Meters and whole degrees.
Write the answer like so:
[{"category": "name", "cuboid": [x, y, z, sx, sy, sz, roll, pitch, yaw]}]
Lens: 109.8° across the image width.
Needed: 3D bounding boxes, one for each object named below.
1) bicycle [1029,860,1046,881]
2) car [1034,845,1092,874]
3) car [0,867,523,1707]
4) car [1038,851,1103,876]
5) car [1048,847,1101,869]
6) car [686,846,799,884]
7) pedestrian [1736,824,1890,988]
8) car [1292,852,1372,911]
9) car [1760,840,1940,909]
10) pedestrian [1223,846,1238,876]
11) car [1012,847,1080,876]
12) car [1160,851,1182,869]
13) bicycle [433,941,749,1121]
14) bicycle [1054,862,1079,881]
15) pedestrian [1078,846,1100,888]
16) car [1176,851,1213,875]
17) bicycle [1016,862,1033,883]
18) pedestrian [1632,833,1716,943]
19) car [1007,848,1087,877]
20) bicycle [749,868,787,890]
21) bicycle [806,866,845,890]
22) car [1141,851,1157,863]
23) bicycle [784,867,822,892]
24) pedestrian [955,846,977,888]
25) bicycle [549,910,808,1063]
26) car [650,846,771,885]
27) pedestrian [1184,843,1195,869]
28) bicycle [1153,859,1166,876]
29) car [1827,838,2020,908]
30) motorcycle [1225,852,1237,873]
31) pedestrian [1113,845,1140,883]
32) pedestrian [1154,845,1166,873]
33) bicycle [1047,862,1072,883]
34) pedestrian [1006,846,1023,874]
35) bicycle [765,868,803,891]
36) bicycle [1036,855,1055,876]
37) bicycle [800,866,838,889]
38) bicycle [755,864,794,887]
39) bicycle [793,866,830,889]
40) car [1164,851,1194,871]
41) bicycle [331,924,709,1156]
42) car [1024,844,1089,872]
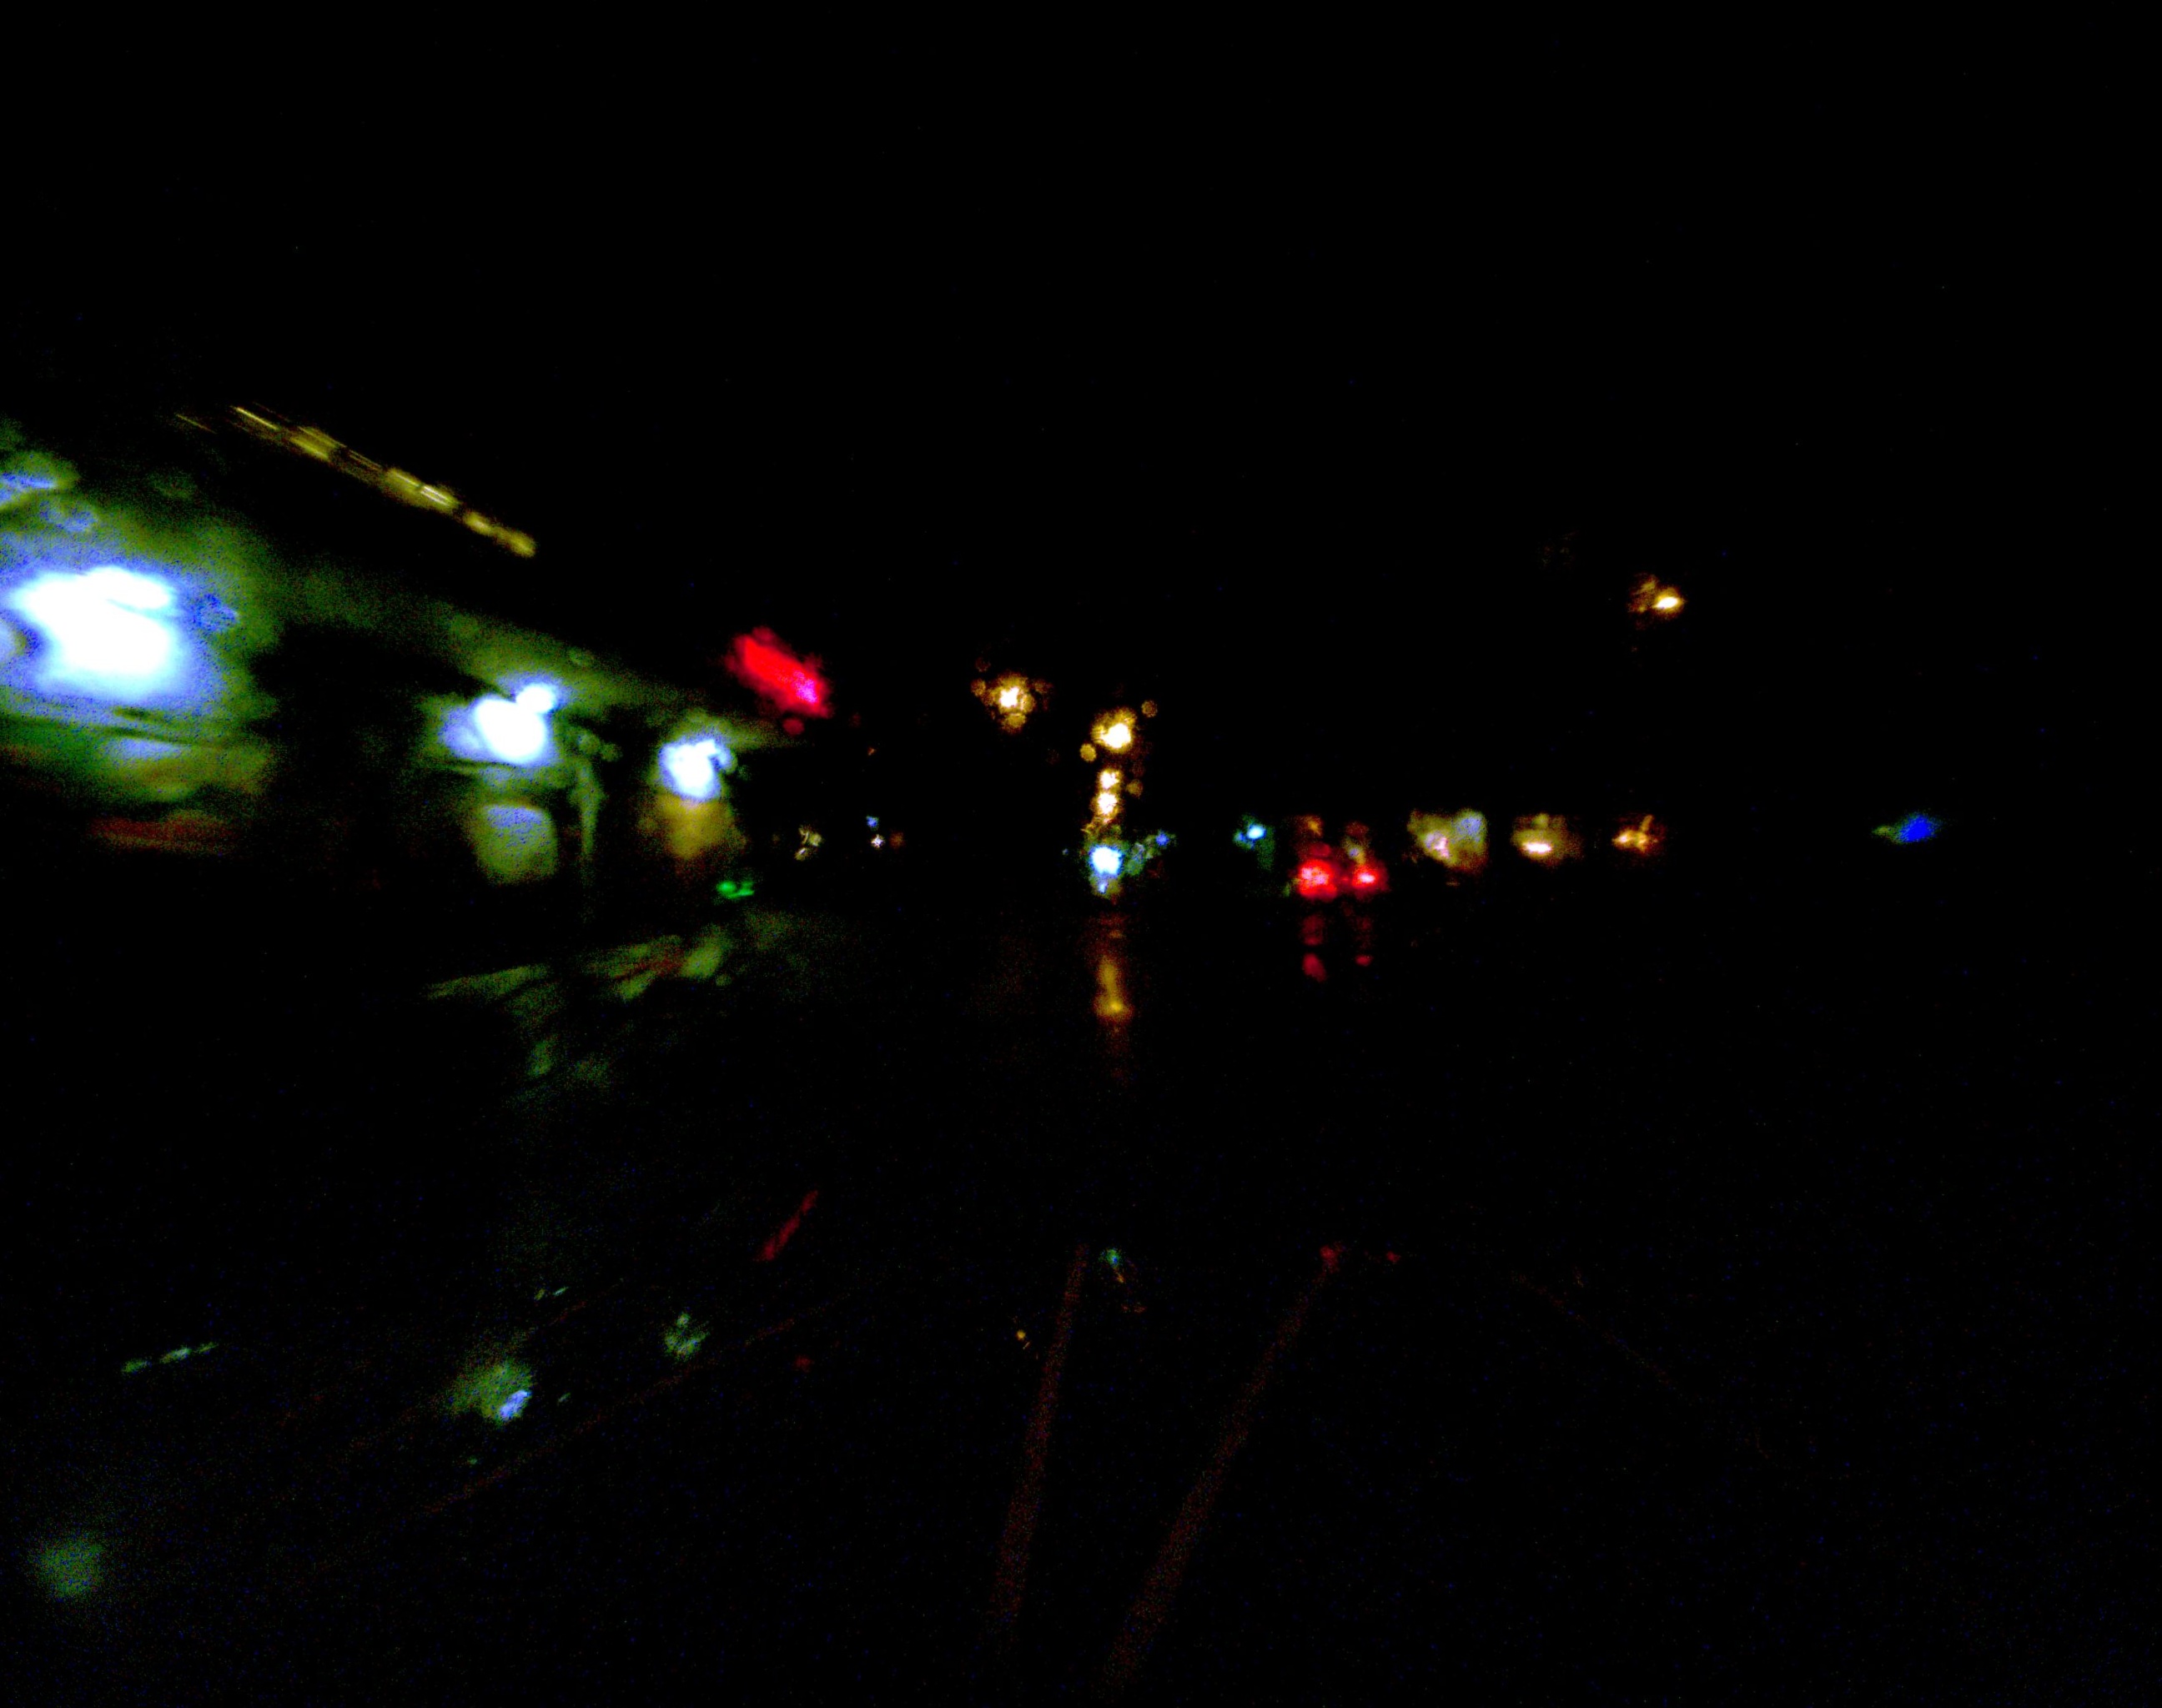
[{"category": "bicycle", "cuboid": [-2.337, 0.870, 41.099, 0.336, 1.086, 1.643, 1, 0, -24]}, {"category": "car", "cuboid": [-1.293, 0.418, 54.673, 3.747, 2.017, 1.717, 1, 0, -33]}, {"category": "car", "cuboid": [-2.734, 0.884, 0.381, 1.757, 1.557, 4.153, -2, 1, 0]}, {"category": "car", "cuboid": [-0.700, 0.674, 52.558, 4.080, 1.588, 1.829, 1, 0, -33]}, {"category": "car", "cuboid": [-0.616, 0.426, 72.505, 4.719, 1.968, 1.975, 1, 0, -27]}, {"category": "car", "cuboid": [-16.859, 0.516, 38.197, 1.995, 1.752, 5.105, -1, 0, 25]}, {"category": "pedestrian", "cuboid": [8.358, 0.564, 8.729, 0.805, 1.756, 1.016, -2, 1, 8]}, {"category": "car", "cuboid": [6.919, 0.689, 21.289, 1.565, 1.419, 4.072, 1, 1, 11]}, {"category": "car", "cuboid": [24.711, 0.594, 24.664, 1.998, 2.002, 4.001, -2, 1, 5]}, {"category": "pedestrian", "cuboid": [8.881, 0.388, 45.111, 0.827, 1.761, 0.600, -1, 1, 14]}, {"category": "car", "cuboid": [-2.122, 0.457, 46.739, 3.747, 1.702, 1.767, 1, 0, -33]}, {"category": "car", "cuboid": [7.857, 0.521, 66.749, 1.720, 1.470, 3.786, -2, 0, 4]}, {"category": "bicycle", "cuboid": [-3.149, 1.129, 4.955, 1.766, 1.073, 0.435, 0, 0, 0]}, {"category": "bicycle", "cuboid": [-0.816, 0.948, 41.771, 0.337, 1.020, 1.641, 1, 0, -45]}, {"category": "pedestrian", "cuboid": [0.359, 0.584, 34.453, 0.958, 1.852, 1.415, 0, 1, 1]}, {"category": "car", "cuboid": [7.515, 0.579, 50.672, 1.851, 1.470, 5.031, -1, 0, 2]}, {"category": "bicycle", "cuboid": [-3.057, 0.984, 40.832, 0.336, 1.020, 1.642, 1, 1, -24]}, {"category": "pedestrian", "cuboid": [10.376, 0.569, 13.330, 0.797, 1.847, 0.947, 2, 1, 14]}, {"category": "car", "cuboid": [-1.966, 0.474, 43.883, 4.269, 1.564, 1.768, 1, 0, -27]}, {"category": "bicycle", "cuboid": [-14.684, 1.154, 35.700, 0.402, 1.003, 1.781, 3, 0, 26]}, {"category": "bicycle", "cuboid": [-11.190, 1.050, 33.343, 0.454, 1.003, 1.813, 0, 0, 26]}, {"category": "car", "cuboid": [8.911, 0.369, 99.707, 1.851, 1.470, 3.735, -2, 0, 1]}, {"category": "bicycle", "cuboid": [-12.586, 1.153, 34.458, 0.402, 1.003, 1.813, -2, 1, 26]}, {"category": "pedestrian", "cuboid": [-5.009, 0.559, 33.273, 0.676, 1.822, 1.078, -2, 1, 4]}, {"category": "bicycle", "cuboid": [-3.110, 1.014, 5.940, 1.787, 1.118, 0.435, 0, 0, 0]}, {"category": "car", "cuboid": [-19.089, 0.565, 39.485, 1.995, 1.879, 5.557, -1, 0, 25]}, {"category": "pedestrian", "cuboid": [9.608, 0.183, 67.264, 0.801, 2.228, 1.116, 0, 1, 1]}, {"category": "bicycle", "cuboid": [5.052, 0.868, 48.728, 0.714, 1.053, 1.802, 0, 0, 2]}, {"category": "car", "cuboid": [27.057, 0.538, 24.645, 1.998, 2.002, 4.001, -2, 1, 5]}, {"category": "motorcycle", "cuboid": [10.263, 0.577, 52.130, 0.538, 1.462, 1.458, -2, 1, 1]}, {"category": "pedestrian", "cuboid": [2.215, 0.482, 36.970, 0.876, 1.823, 0.986, 0, 1, 38]}, {"category": "pedestrian", "cuboid": [5.048, 0.318, 48.773, 0.714, 1.801, 1.125, 0, 0, 2]}, {"category": "bicycle", "cuboid": [-1.187, 0.997, 41.442, 0.337, 1.020, 1.641, 1, 2, -43]}, {"category": "pedestrian", "cuboid": [-4.380, 0.398, 50.125, 0.789, 1.807, 0.812, 1, 3, 26]}, {"category": "bicycle", "cuboid": [-13.718, 1.159, 35.122, 0.402, 1.003, 1.813, 0, 0, 26]}, {"category": "bicycle", "cuboid": [-1.930, 0.634, 41.370, 0.336, 1.021, 1.641, -2, 4, -28]}, {"category": "bicycle", "cuboid": [-11.655, 1.033, 33.852, 0.402, 1.003, 1.813, 0, 0, 26]}, {"category": "bicycle", "cuboid": [-14.245, 0.993, 35.373, 0.402, 1.003, 1.813, -2, 1, 27]}, {"category": "bicycle", "cuboid": [-12.115, 1.046, 34.208, 0.378, 1.003, 1.813, 0, 0, 27]}, {"category": "car", "cuboid": [7.891, 0.542, 61.513, 1.720, 1.470, 4.159, -1, 0, -1]}, {"category": "bicycle", "cuboid": [-3.136, 1.026, 4.322, 1.766, 1.118, 0.435, 3, 0, 0]}, {"category": "car", "cuboid": [-1.591, 0.253, 49.491, 3.801, 1.702, 1.744, 1, 0, -33]}]
